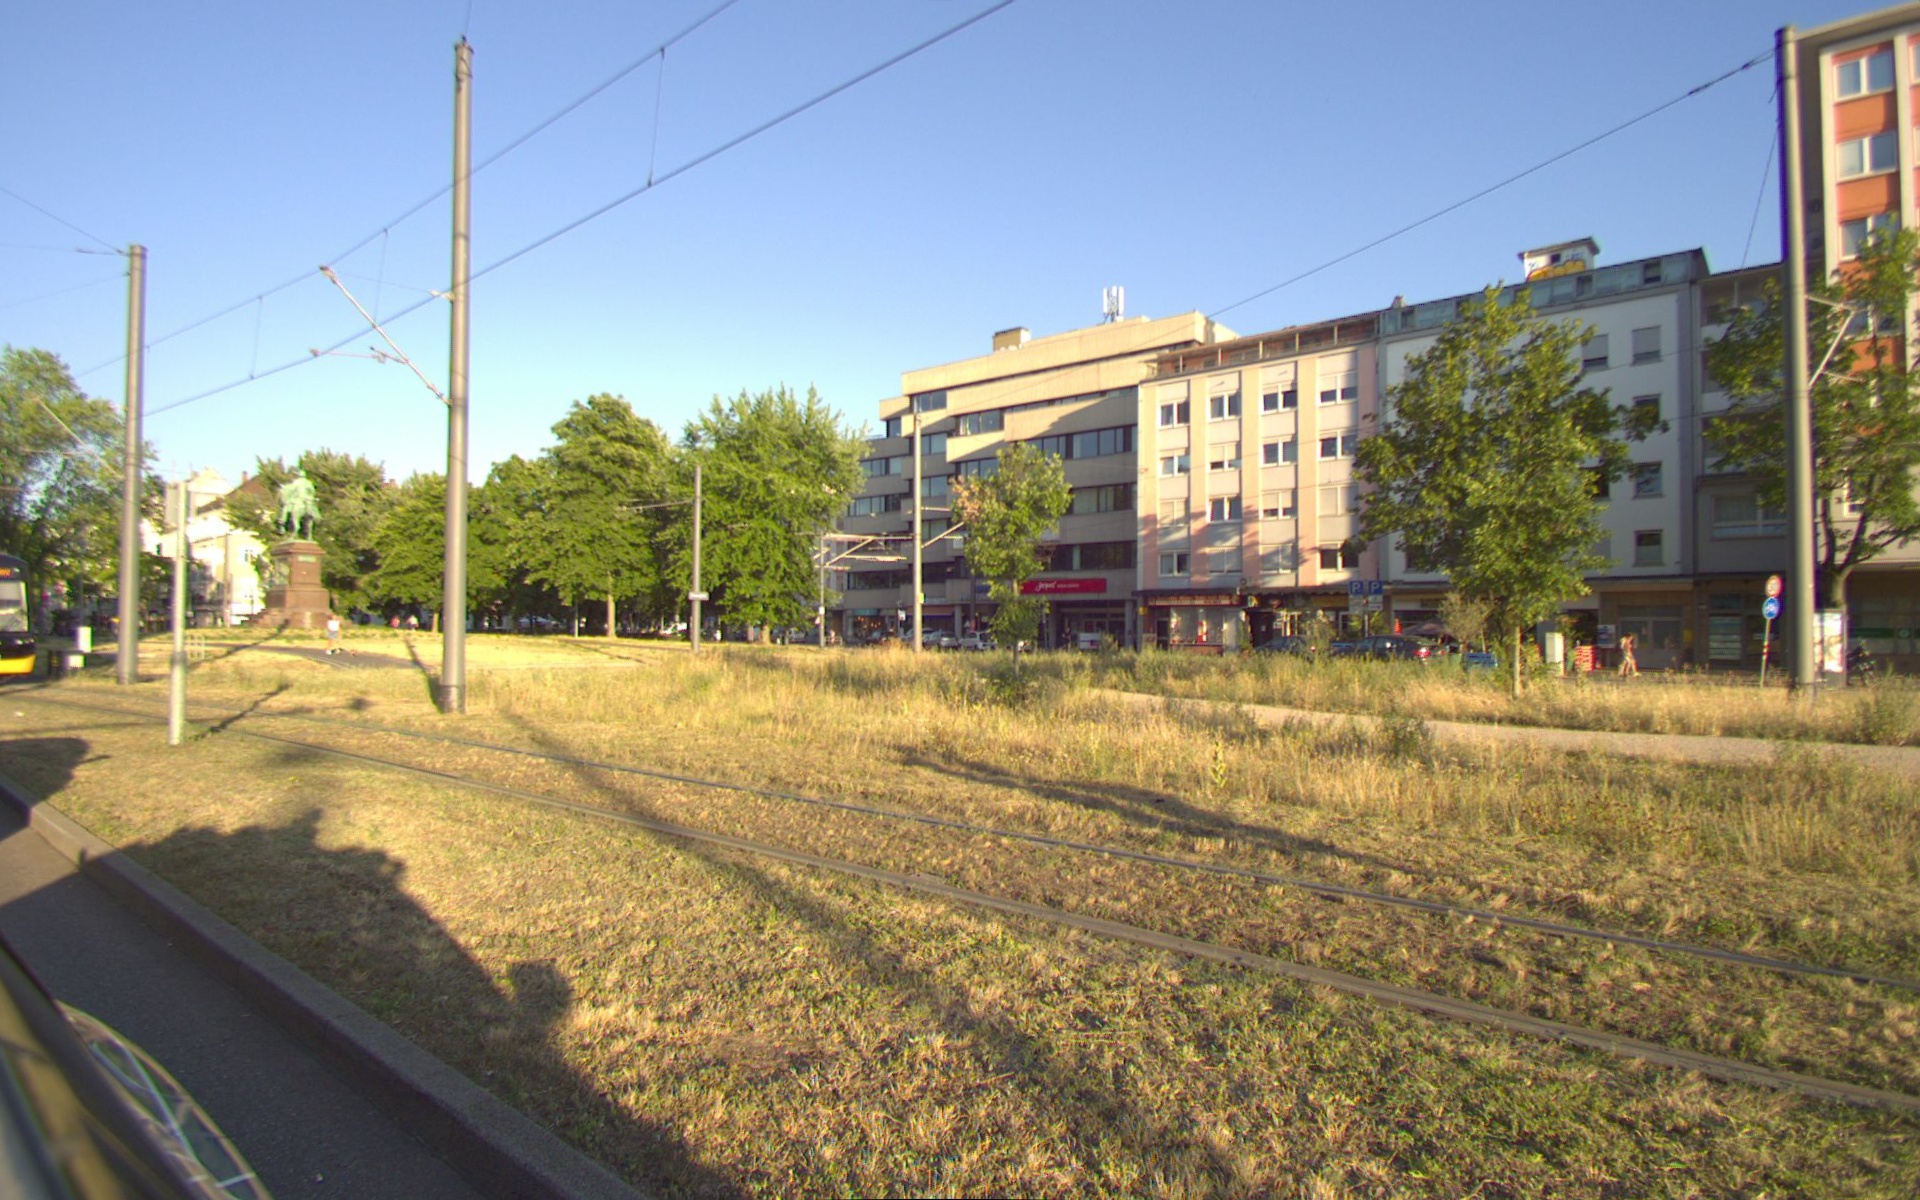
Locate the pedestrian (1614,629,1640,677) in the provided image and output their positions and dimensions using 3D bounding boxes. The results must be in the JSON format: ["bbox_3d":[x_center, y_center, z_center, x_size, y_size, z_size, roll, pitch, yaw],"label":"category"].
[{"bbox_3d":[25.474,2.019,38.649,0.704,1.806,0.587,-2,-2,41],"label":"pedestrian"}]

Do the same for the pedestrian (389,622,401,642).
[{"bbox_3d":[-48.118,2.727,86.254,0.635,1.682,0.702,-1,-2,41],"label":"pedestrian"}]

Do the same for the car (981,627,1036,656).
[{"bbox_3d":[3.199,2.709,66.912,1.892,1.878,4.013,1,-2,-27],"label":"car"}]

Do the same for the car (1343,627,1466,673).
[{"bbox_3d":[17.268,1.919,39.517,1.965,1.697,4.012,1,-2,-28],"label":"car"}]

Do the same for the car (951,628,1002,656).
[{"bbox_3d":[1.114,2.935,71.497,1.965,1.893,4.013,1,-2,-27],"label":"car"}]

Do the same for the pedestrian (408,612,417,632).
[{"bbox_3d":[-46.967,1.926,86.816,0.512,1.707,0.528,-1,-2,41],"label":"pedestrian"}]

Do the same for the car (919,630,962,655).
[{"bbox_3d":[-1.526,3.205,77.053,1.965,1.893,4.013,1,-2,-23],"label":"car"}]

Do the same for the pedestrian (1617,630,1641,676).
[{"bbox_3d":[25.874,2.050,39.138,0.698,1.764,0.642,-2,-2,41],"label":"pedestrian"}]

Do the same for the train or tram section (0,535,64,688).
[{"bbox_3d":[-29.667,0.370,27.469,13.138,3.767,2.894,-1,-2,25],"label":"train or tram section"}]

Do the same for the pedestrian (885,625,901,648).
[{"bbox_3d":[-6.000,3.270,90.677,0.892,2.051,1.123,-2,-2,43],"label":"pedestrian"}]

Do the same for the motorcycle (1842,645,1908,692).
[{"bbox_3d":[26.589,1.975,29.414,1.390,1.328,0.376,-2,-2,43],"label":"motorcycle"}]

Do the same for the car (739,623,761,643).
[{"bbox_3d":[-23.527,3.663,113.122,1.966,2.029,4.012,-1,0,-18],"label":"car"}]

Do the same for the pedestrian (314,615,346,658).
[{"bbox_3d":[-25.660,1.490,41.210,0.797,1.741,0.880,-2,-2,41],"label":"pedestrian"}]

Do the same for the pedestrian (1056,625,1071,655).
[{"bbox_3d":[6.724,2.607,65.612,0.700,1.949,0.683,-2,-2,41],"label":"pedestrian"}]

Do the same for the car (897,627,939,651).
[{"bbox_3d":[-3.452,3.126,81.965,1.965,1.951,4.013,1,-2,-25],"label":"car"}]
